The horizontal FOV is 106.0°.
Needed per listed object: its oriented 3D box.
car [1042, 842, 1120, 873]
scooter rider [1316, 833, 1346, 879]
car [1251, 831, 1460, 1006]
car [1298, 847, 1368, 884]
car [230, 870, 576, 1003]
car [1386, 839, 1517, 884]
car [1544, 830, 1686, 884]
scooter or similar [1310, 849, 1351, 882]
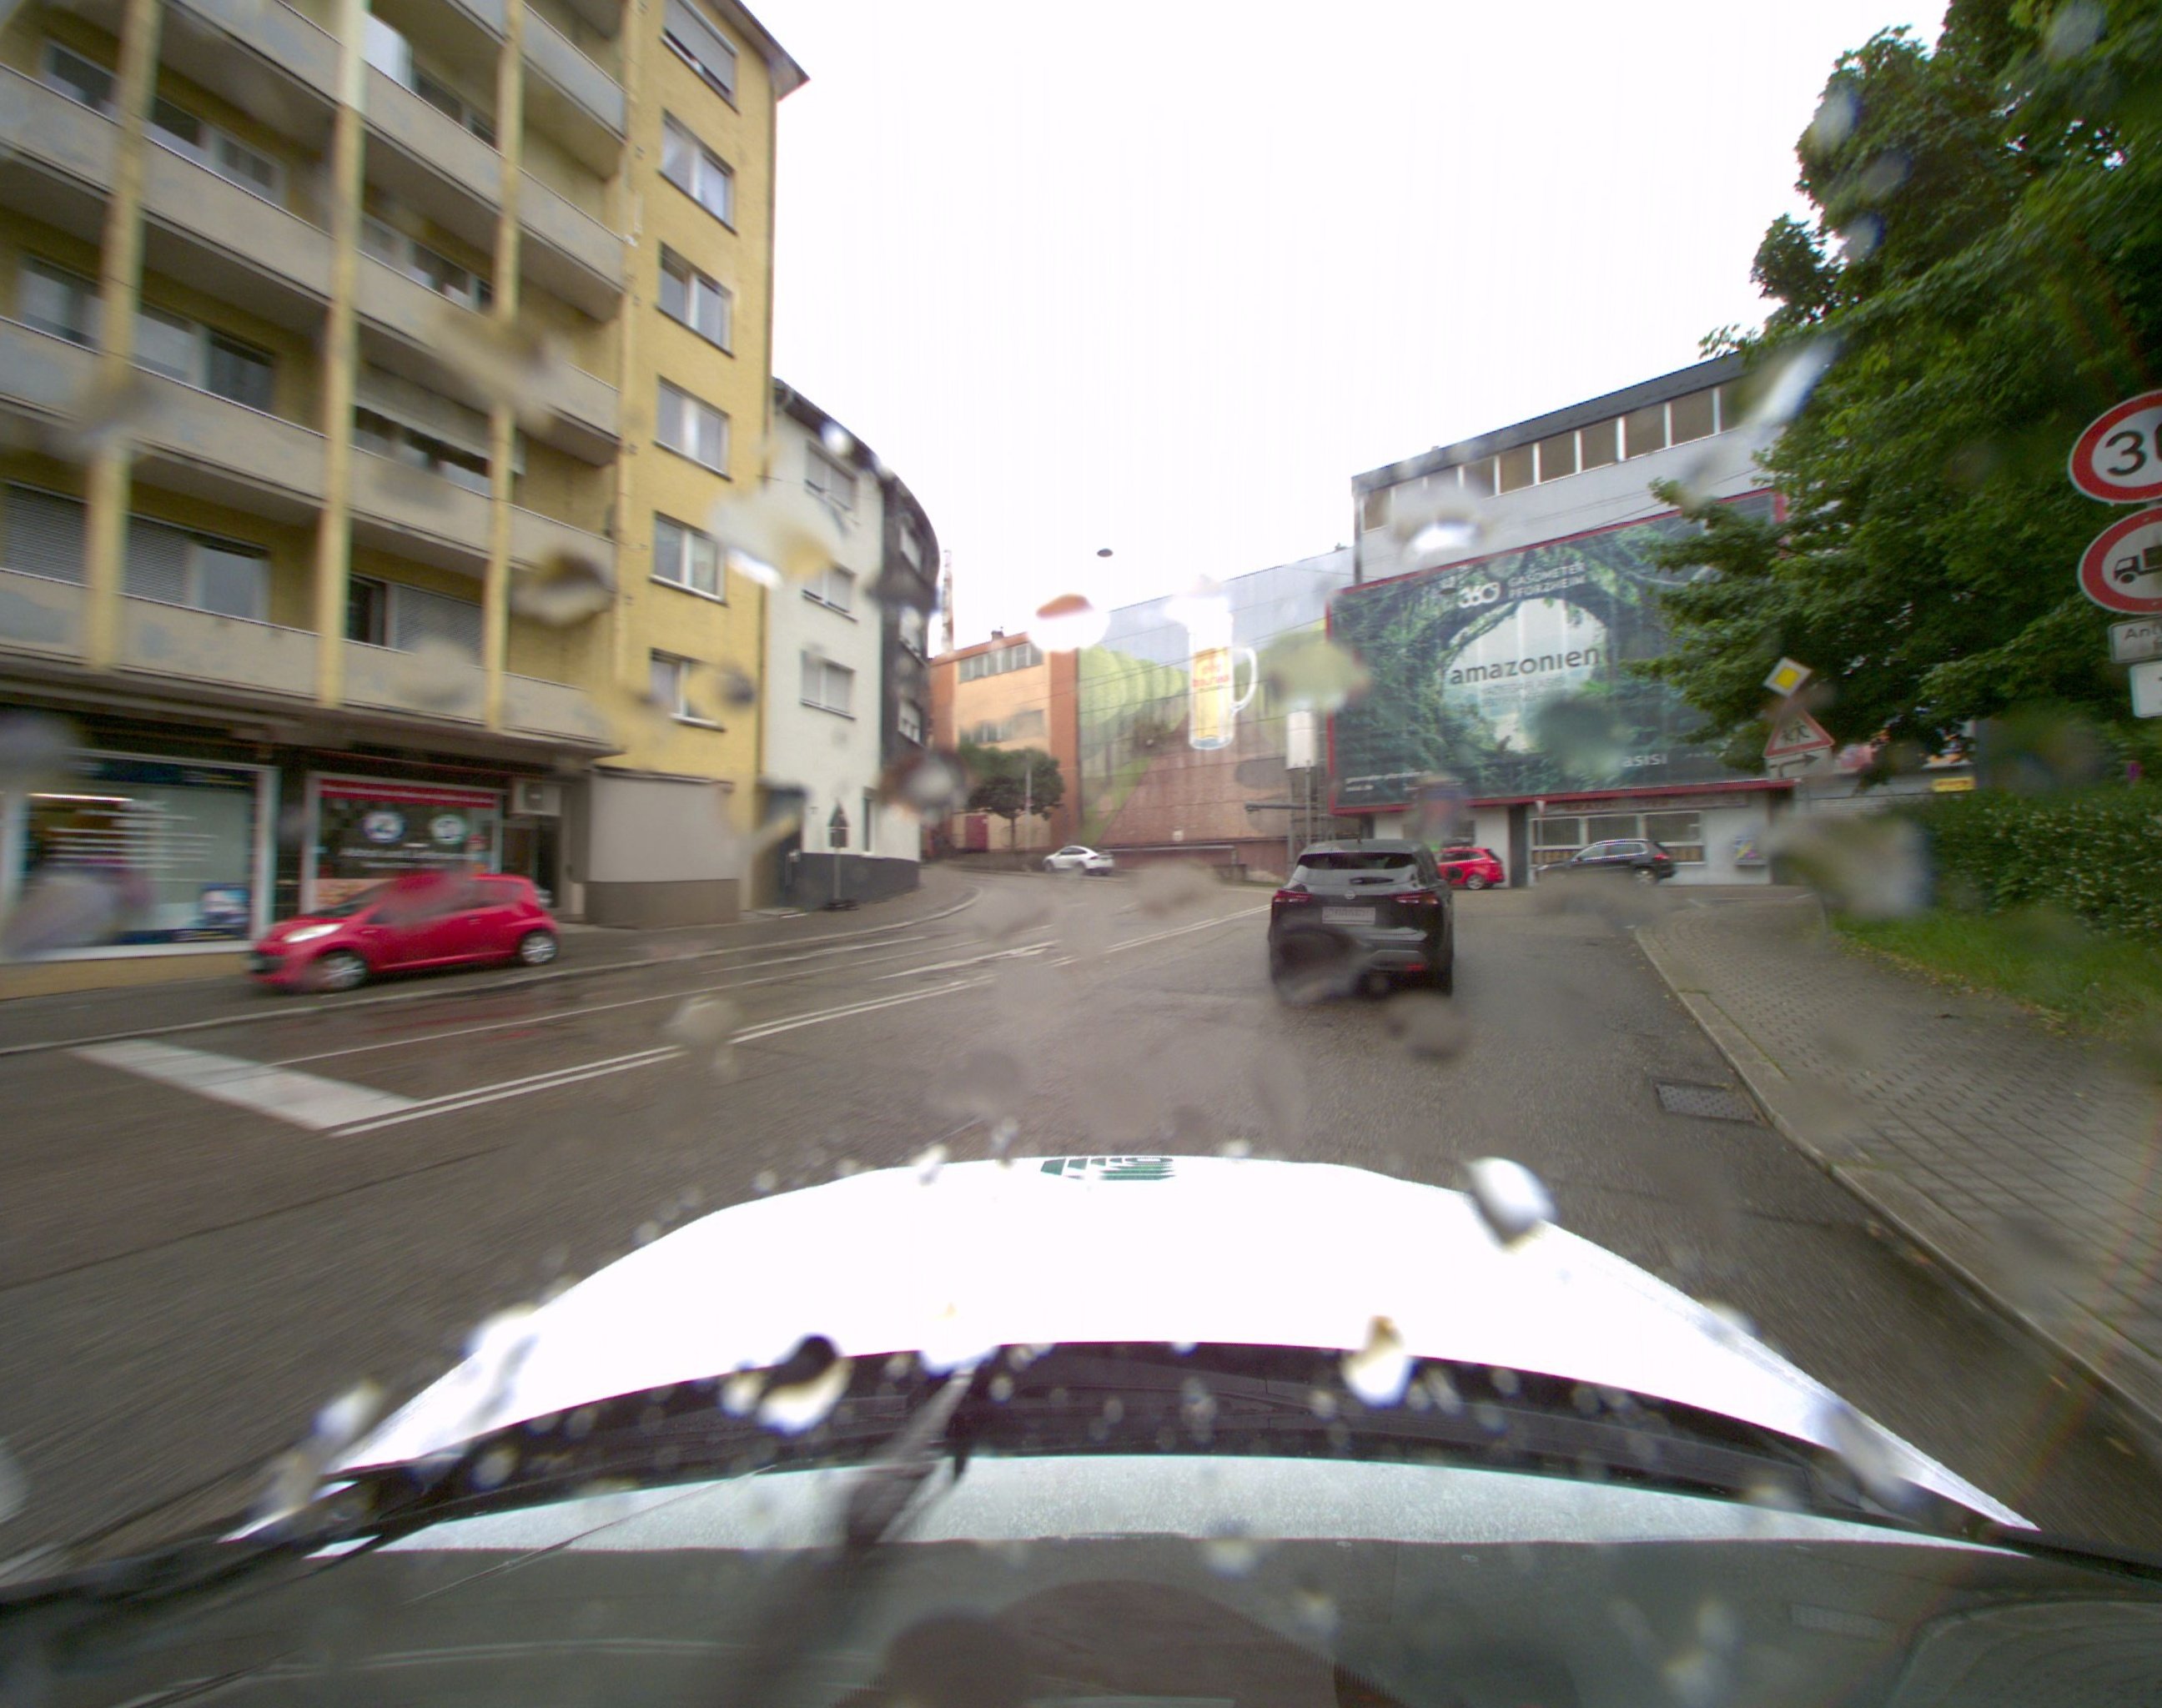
[{"bbox_3d":[-0.065,0.200,48.166,1.868,1.617,4.858,1,1,-41],"label":"car"},{"bbox_3d":[10.246,0.075,33.346,0.807,1.821,0.774,-2,-1,-28],"label":"scooter rider"},{"bbox_3d":[3.416,0.566,9.595,1.864,1.593,3.944,-1,1,25],"label":"car"},{"bbox_3d":[11.773,0.487,37.846,1.851,1.533,4.018,-1,1,36],"label":"car"},{"bbox_3d":[-9.703,1.052,11.947,1.594,1.464,3.556,1,1,31],"label":"car"},{"bbox_3d":[14.854,0.338,32.795,4.434,1.711,1.944,-1,-1,40],"label":"car"},{"bbox_3d":[18.930,0.144,28.939,3.948,1.711,1.945,-3,-2,40],"label":"car"},{"bbox_3d":[10.230,0.473,33.389,0.807,1.322,1.396,-2,-1,-28],"label":"scooter or similar"}]
